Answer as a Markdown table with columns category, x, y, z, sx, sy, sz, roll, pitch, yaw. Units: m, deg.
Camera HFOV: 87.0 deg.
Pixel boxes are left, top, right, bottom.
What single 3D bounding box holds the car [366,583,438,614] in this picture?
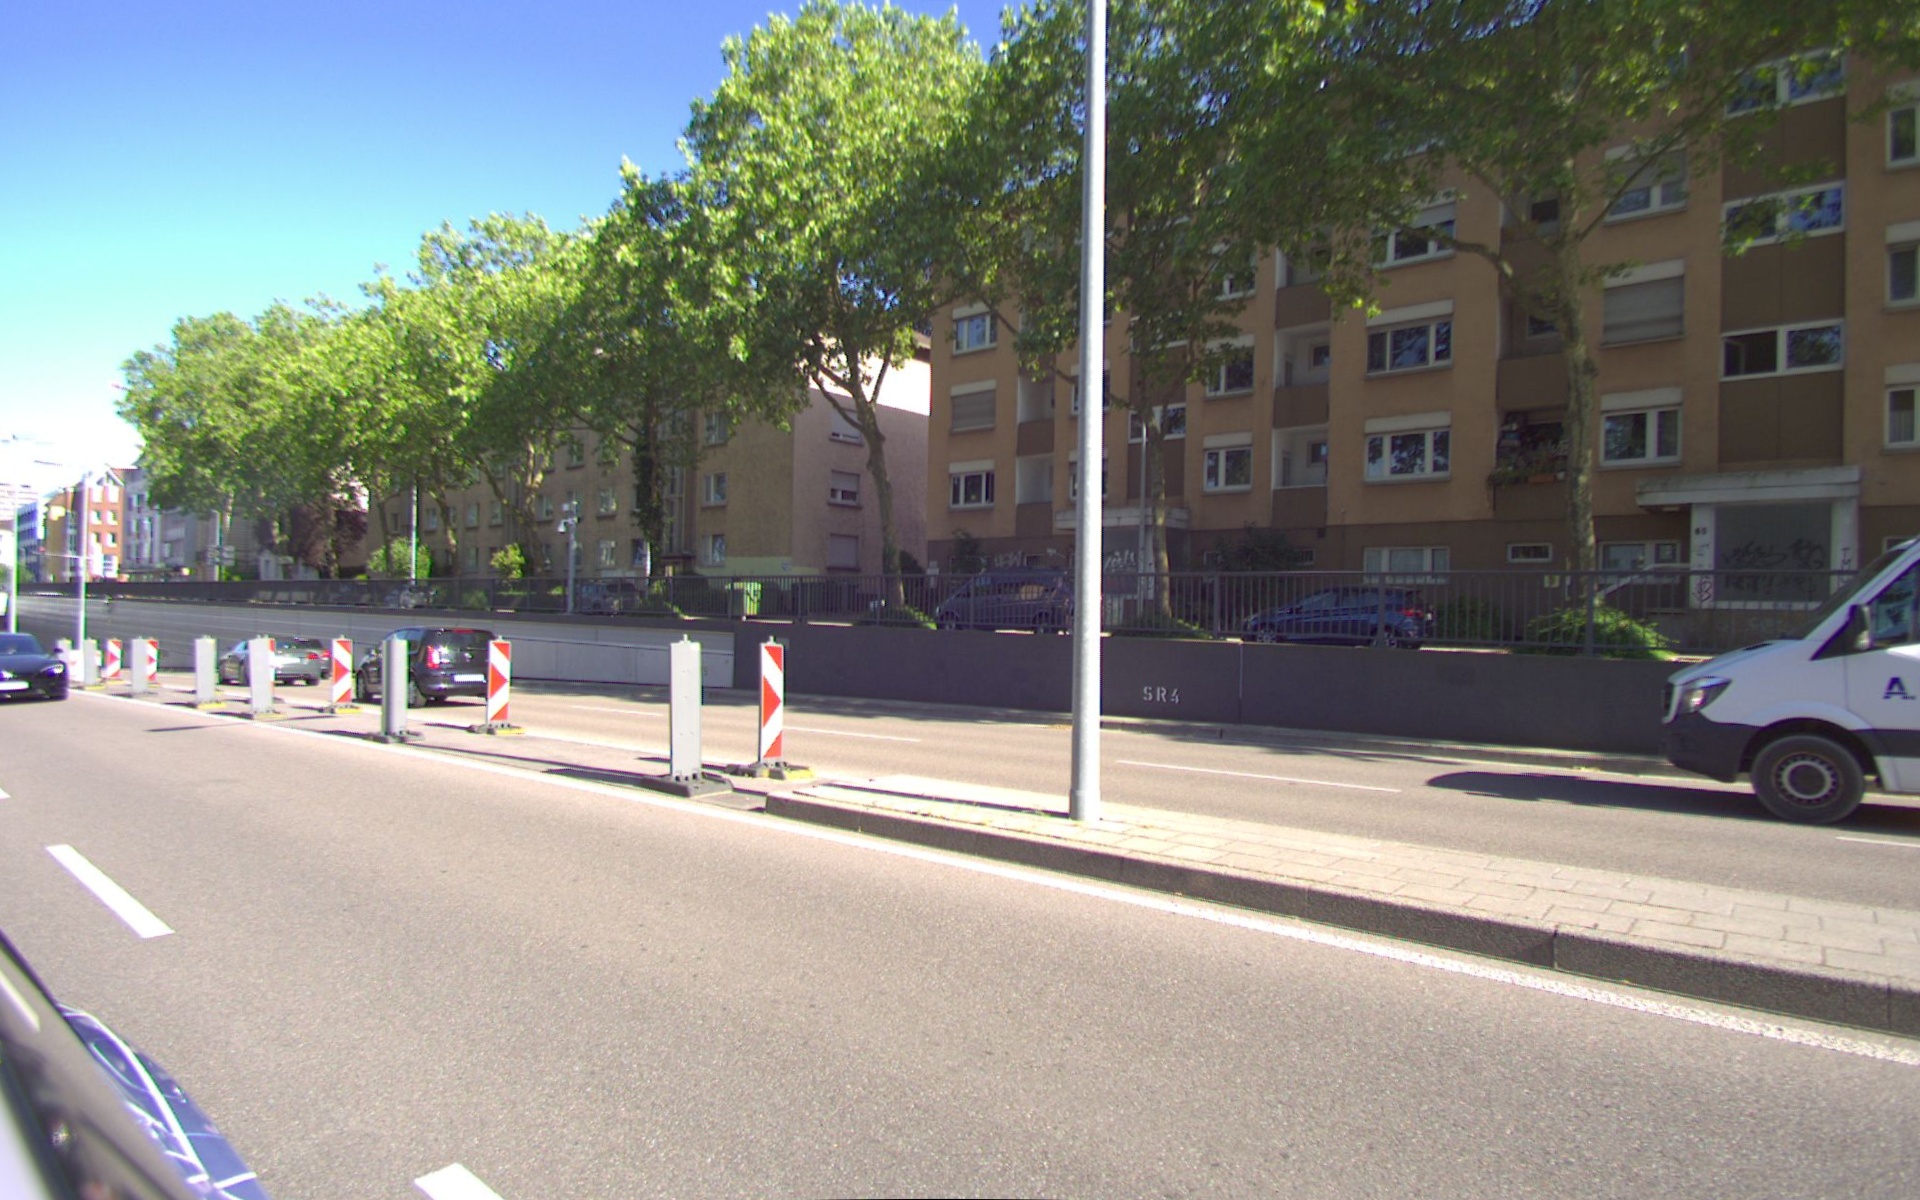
| category | x | y | z | sx | sy | sz | roll | pitch | yaw |
| --- | --- | --- | --- | --- | --- | --- | --- | --- | --- |
| car | -30.068 | -0.083 | 54.476 | 4.299 | 1.596 | 1.902 | 0 | 0 | 39 |

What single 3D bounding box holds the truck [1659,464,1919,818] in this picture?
| category | x | y | z | sx | sy | sz | roll | pitch | yaw |
| --- | --- | --- | --- | --- | --- | --- | --- | --- | --- |
| truck | 8.767 | 0.288 | 7.075 | 6.127 | 2.547 | 2.205 | -2 | -4 | 42 |

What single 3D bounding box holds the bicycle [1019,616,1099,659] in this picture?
| category | x | y | z | sx | sy | sz | roll | pitch | yaw |
| --- | --- | --- | --- | --- | --- | --- | --- | --- | --- |
| bicycle | 2.261 | 0.838 | 23.166 | 1.756 | 0.934 | 0.650 | 0 | 0 | 38 |

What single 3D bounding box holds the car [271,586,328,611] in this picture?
| category | x | y | z | sx | sy | sz | roll | pitch | yaw |
| --- | --- | --- | --- | --- | --- | --- | --- | --- | --- |
| car | -43.295 | -0.067 | 66.268 | 4.299 | 1.596 | 1.902 | 0 | 0 | 39 |

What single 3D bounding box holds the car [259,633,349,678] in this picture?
| category | x | y | z | sx | sy | sz | roll | pitch | yaw |
| --- | --- | --- | --- | --- | --- | --- | --- | --- | --- |
| car | -22.501 | 1.888 | 34.697 | 3.715 | 1.476 | 1.523 | -1 | -4 | 40 |

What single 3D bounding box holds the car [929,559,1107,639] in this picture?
| category | x | y | z | sx | sy | sz | roll | pitch | yaw |
| --- | --- | --- | --- | --- | --- | --- | --- | --- | --- |
| car | 1.513 | -0.022 | 27.369 | 4.522 | 1.975 | 1.946 | 0 | 0 | 39 |

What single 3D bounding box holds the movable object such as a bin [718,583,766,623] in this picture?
| category | x | y | z | sx | sy | sz | roll | pitch | yaw |
| --- | --- | --- | --- | --- | --- | --- | --- | --- | --- |
| movable object such as a bin | -8.417 | 0.114 | 39.137 | 1.354 | 1.495 | 1.196 | -1 | 0 | 33 |

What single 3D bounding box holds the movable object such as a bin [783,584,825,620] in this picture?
| category | x | y | z | sx | sy | sz | roll | pitch | yaw |
| --- | --- | --- | --- | --- | --- | --- | --- | --- | --- |
| movable object such as a bin | -6.500 | 0.079 | 42.239 | 1.146 | 1.495 | 1.301 | -1 | 0 | 38 |

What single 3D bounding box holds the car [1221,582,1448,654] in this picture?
| category | x | y | z | sx | sy | sz | roll | pitch | yaw |
| --- | --- | --- | --- | --- | --- | --- | --- | --- | --- |
| car | 8.001 | 0.348 | 21.801 | 4.170 | 1.399 | 1.973 | 0 | 0 | 41 |

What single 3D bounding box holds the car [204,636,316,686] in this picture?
| category | x | y | z | sx | sy | sz | roll | pitch | yaw |
| --- | --- | --- | --- | --- | --- | --- | --- | --- | --- |
| car | -19.399 | 1.685 | 27.994 | 3.925 | 1.310 | 1.523 | -2 | -5 | 40 |

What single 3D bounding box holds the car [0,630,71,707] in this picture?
| category | x | y | z | sx | sy | sz | roll | pitch | yaw |
| --- | --- | --- | --- | --- | --- | --- | --- | --- | --- |
| car | -19.812 | 1.373 | 20.659 | 3.998 | 1.426 | 1.973 | -2 | -1 | 41 |

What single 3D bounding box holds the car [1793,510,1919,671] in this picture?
| category | x | y | z | sx | sy | sz | roll | pitch | yaw |
| --- | --- | --- | --- | --- | --- | --- | --- | --- | --- |
| car | 15.778 | -0.156 | 14.853 | 5.417 | 2.377 | 1.972 | 0 | 0 | 42 |

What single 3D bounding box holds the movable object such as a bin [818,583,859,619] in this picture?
| category | x | y | z | sx | sy | sz | roll | pitch | yaw |
| --- | --- | --- | --- | --- | --- | --- | --- | --- | --- |
| movable object such as a bin | -5.203 | 0.047 | 43.421 | 1.146 | 1.495 | 1.301 | -1 | 0 | 38 |

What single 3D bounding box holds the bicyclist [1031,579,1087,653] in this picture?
| category | x | y | z | sx | sy | sz | roll | pitch | yaw |
| --- | --- | --- | --- | --- | --- | --- | --- | --- | --- |
| bicyclist | 2.274 | 0.347 | 23.152 | 1.021 | 1.645 | 0.767 | -1 | 0 | 38 |

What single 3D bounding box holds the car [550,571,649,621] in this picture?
| category | x | y | z | sx | sy | sz | roll | pitch | yaw |
| --- | --- | --- | --- | --- | --- | --- | --- | --- | --- |
| car | -14.898 | -0.149 | 41.743 | 4.411 | 1.975 | 1.945 | 0 | 0 | 41 |

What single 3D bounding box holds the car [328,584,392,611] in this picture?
| category | x | y | z | sx | sy | sz | roll | pitch | yaw |
| --- | --- | --- | --- | --- | --- | --- | --- | --- | --- |
| car | -35.790 | -0.140 | 60.331 | 4.299 | 1.596 | 1.902 | 0 | 0 | 39 |

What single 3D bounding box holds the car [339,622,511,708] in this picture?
| category | x | y | z | sx | sy | sz | roll | pitch | yaw |
| --- | --- | --- | --- | --- | --- | --- | --- | --- | --- |
| car | -10.140 | 1.220 | 19.106 | 3.605 | 1.469 | 1.592 | -2 | -5 | 40 |
